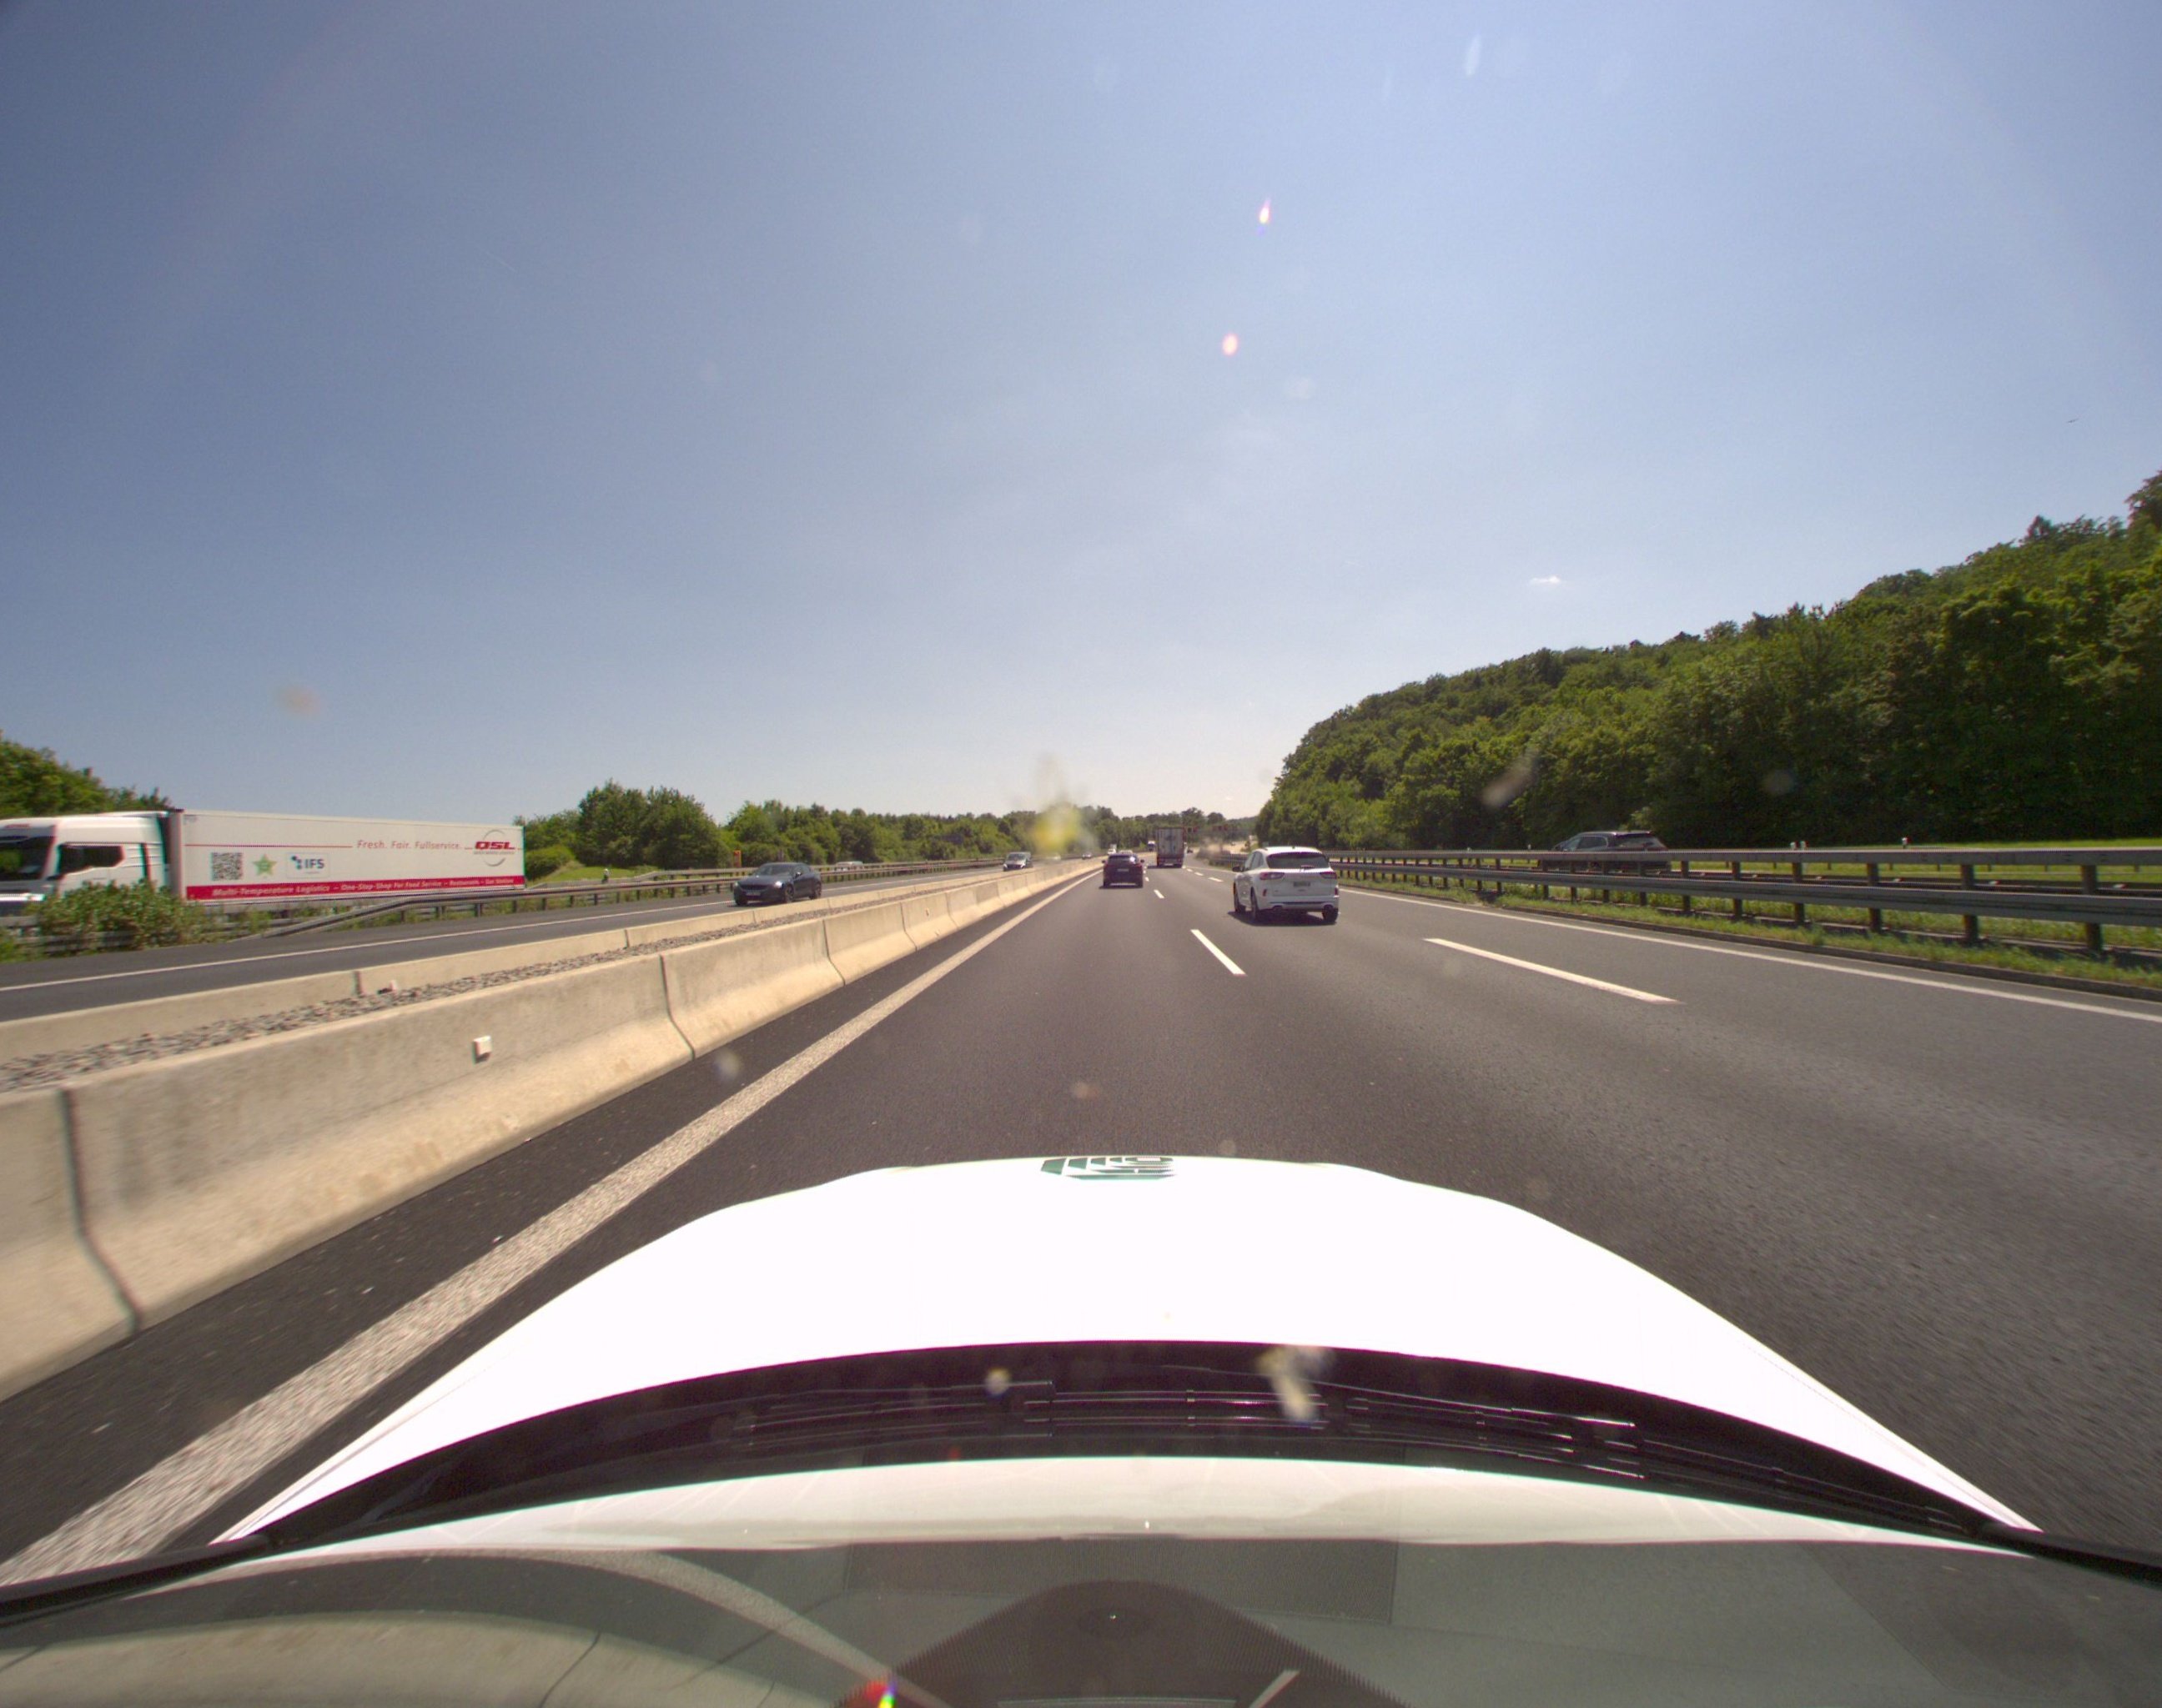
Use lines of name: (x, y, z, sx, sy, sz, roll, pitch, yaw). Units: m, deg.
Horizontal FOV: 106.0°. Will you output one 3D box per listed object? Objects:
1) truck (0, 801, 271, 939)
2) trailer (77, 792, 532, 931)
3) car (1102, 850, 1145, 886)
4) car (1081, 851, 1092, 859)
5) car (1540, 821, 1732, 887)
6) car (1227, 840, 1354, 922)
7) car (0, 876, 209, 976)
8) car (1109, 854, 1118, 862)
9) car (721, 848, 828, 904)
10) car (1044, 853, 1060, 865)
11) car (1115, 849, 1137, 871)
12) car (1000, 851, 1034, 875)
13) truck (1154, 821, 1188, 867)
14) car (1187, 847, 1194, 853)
truck: (-27.911, 0.454, 23.701, 3.070, 3.503, 5.414, -1, -1, 3)
trailer: (-27.534, 0.263, 30.909, 3.095, 3.997, 14.096, -1, -1, 3)
car: (1.906, 0.625, 37.822, 1.773, 1.577, 3.999, -1, -1, 0)
car: (1.127, 0.163, 163.593, 1.720, 1.532, 4.266, 0, 0, 5)
car: (16.018, 0.030, 24.010, 1.986, 1.662, 5.629, -1, -1, 2)
car: (4.739, 0.582, 19.120, 1.985, 1.662, 4.470, -1, -1, 2)
car: (-23.972, 1.620, 18.689, 1.986, 2.013, 5.323, -2, 0, 2)
car: (8.219, 1.082, 205.821, 1.985, 2.014, 5.385, -1, -1, 3)
car: (-11.113, 0.762, 29.931, 1.987, 1.824, 4.905, -1, -1, 1)
car: (-4.164, 0.680, 117.889, 1.779, 1.632, 4.935, -1, 0, 4)
car: (4.760, 0.609, 85.308, 1.984, 2.013, 4.006, -4, 0, 5)
car: (-5.196, 0.741, 67.210, 2.026, 1.858, 5.379, -1, -1, 3)
truck: (9.253, -0.933, 84.622, 3.018, 4.418, 12.032, -1, -1, 4)
car: (34.363, -1.226, 254.987, 1.983, 2.014, 4.008, -1, -1, 7)
